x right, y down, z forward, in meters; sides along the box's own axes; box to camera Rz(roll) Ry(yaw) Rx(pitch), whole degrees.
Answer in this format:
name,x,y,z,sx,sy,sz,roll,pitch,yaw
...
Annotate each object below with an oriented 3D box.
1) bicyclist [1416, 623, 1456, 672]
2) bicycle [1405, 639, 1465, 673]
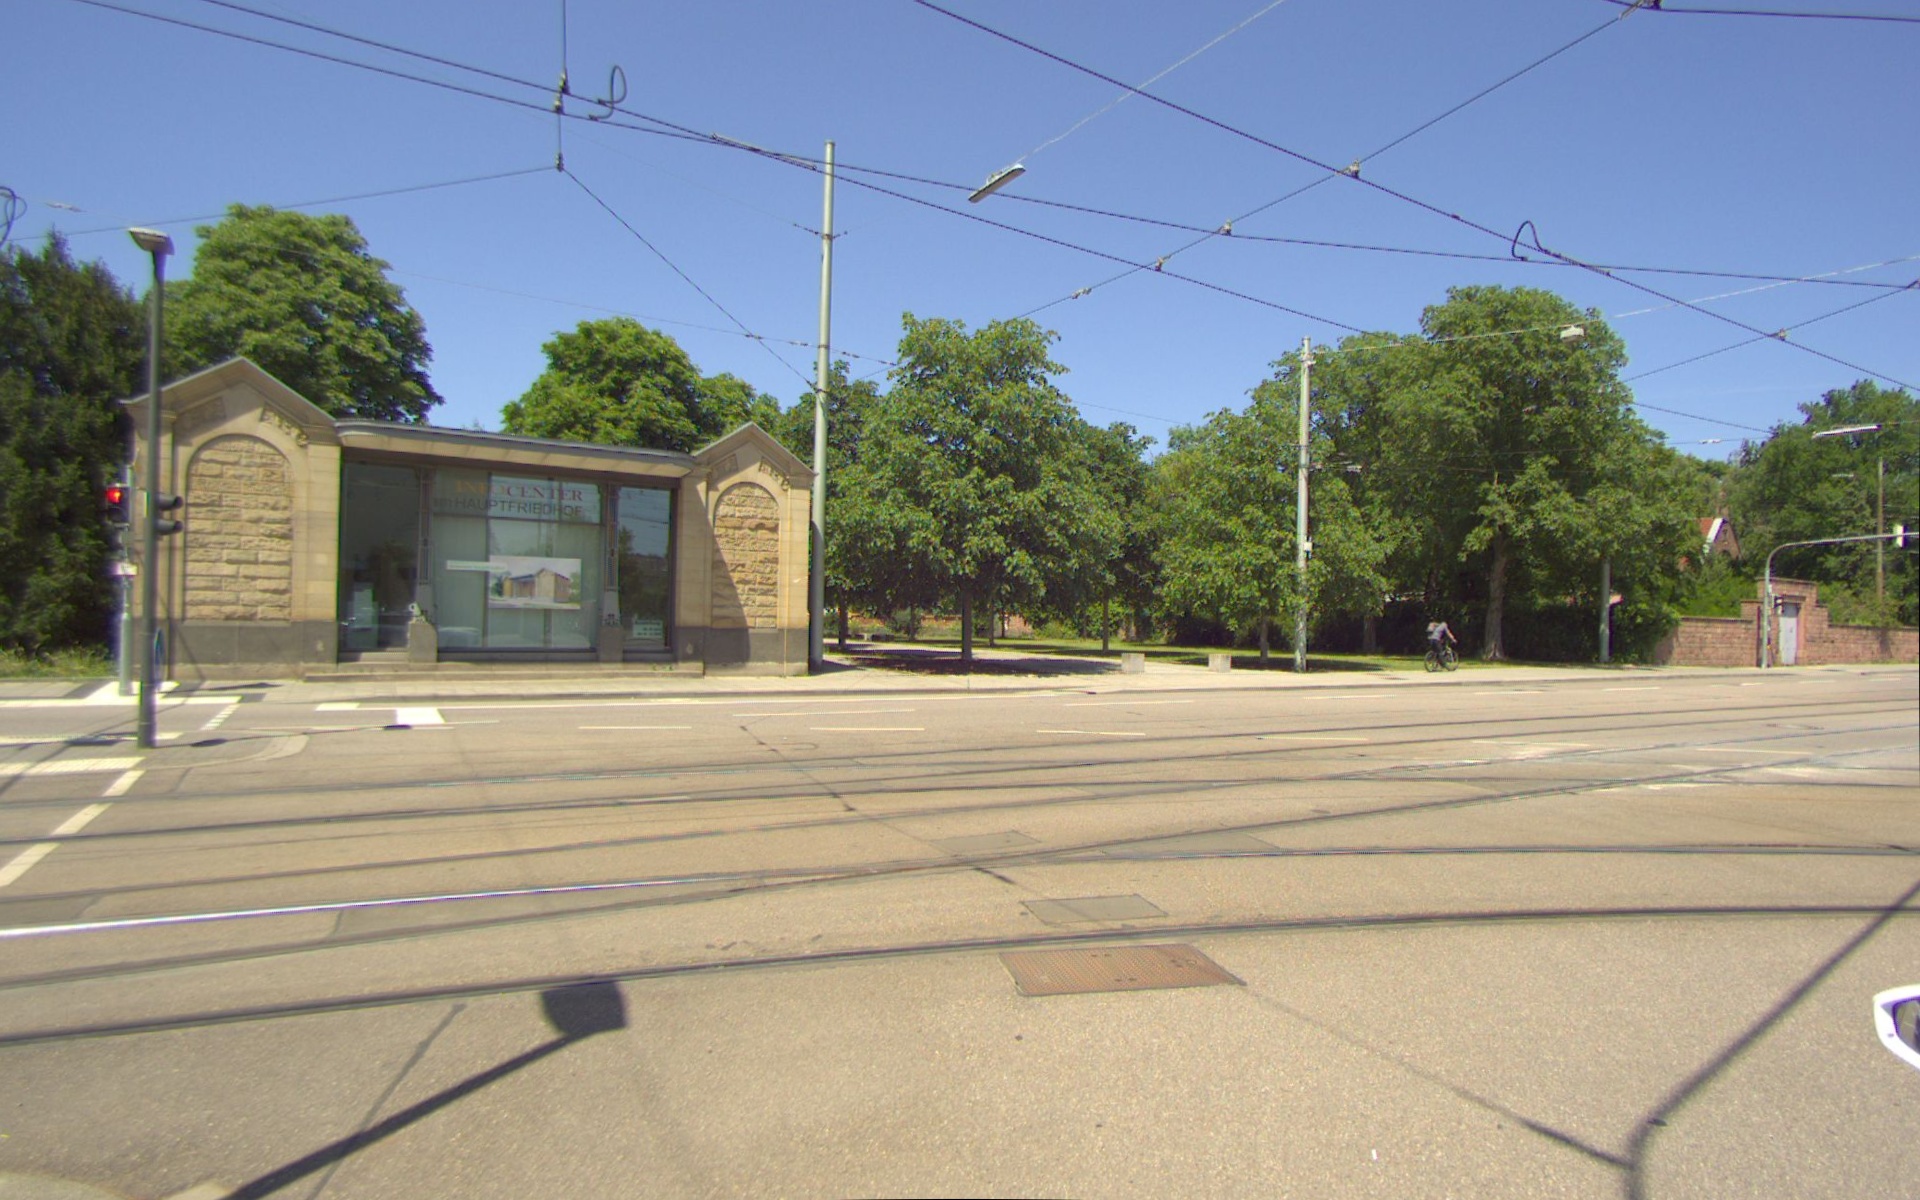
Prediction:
name,x,y,z,sx,sy,sz,roll,pitch,yaw
bicyclist,15.444,1.539,32.619,0.835,1.551,0.846,2,-1,-30
bicycle,15.470,1.816,32.676,2.079,1.055,0.711,2,-1,-30
